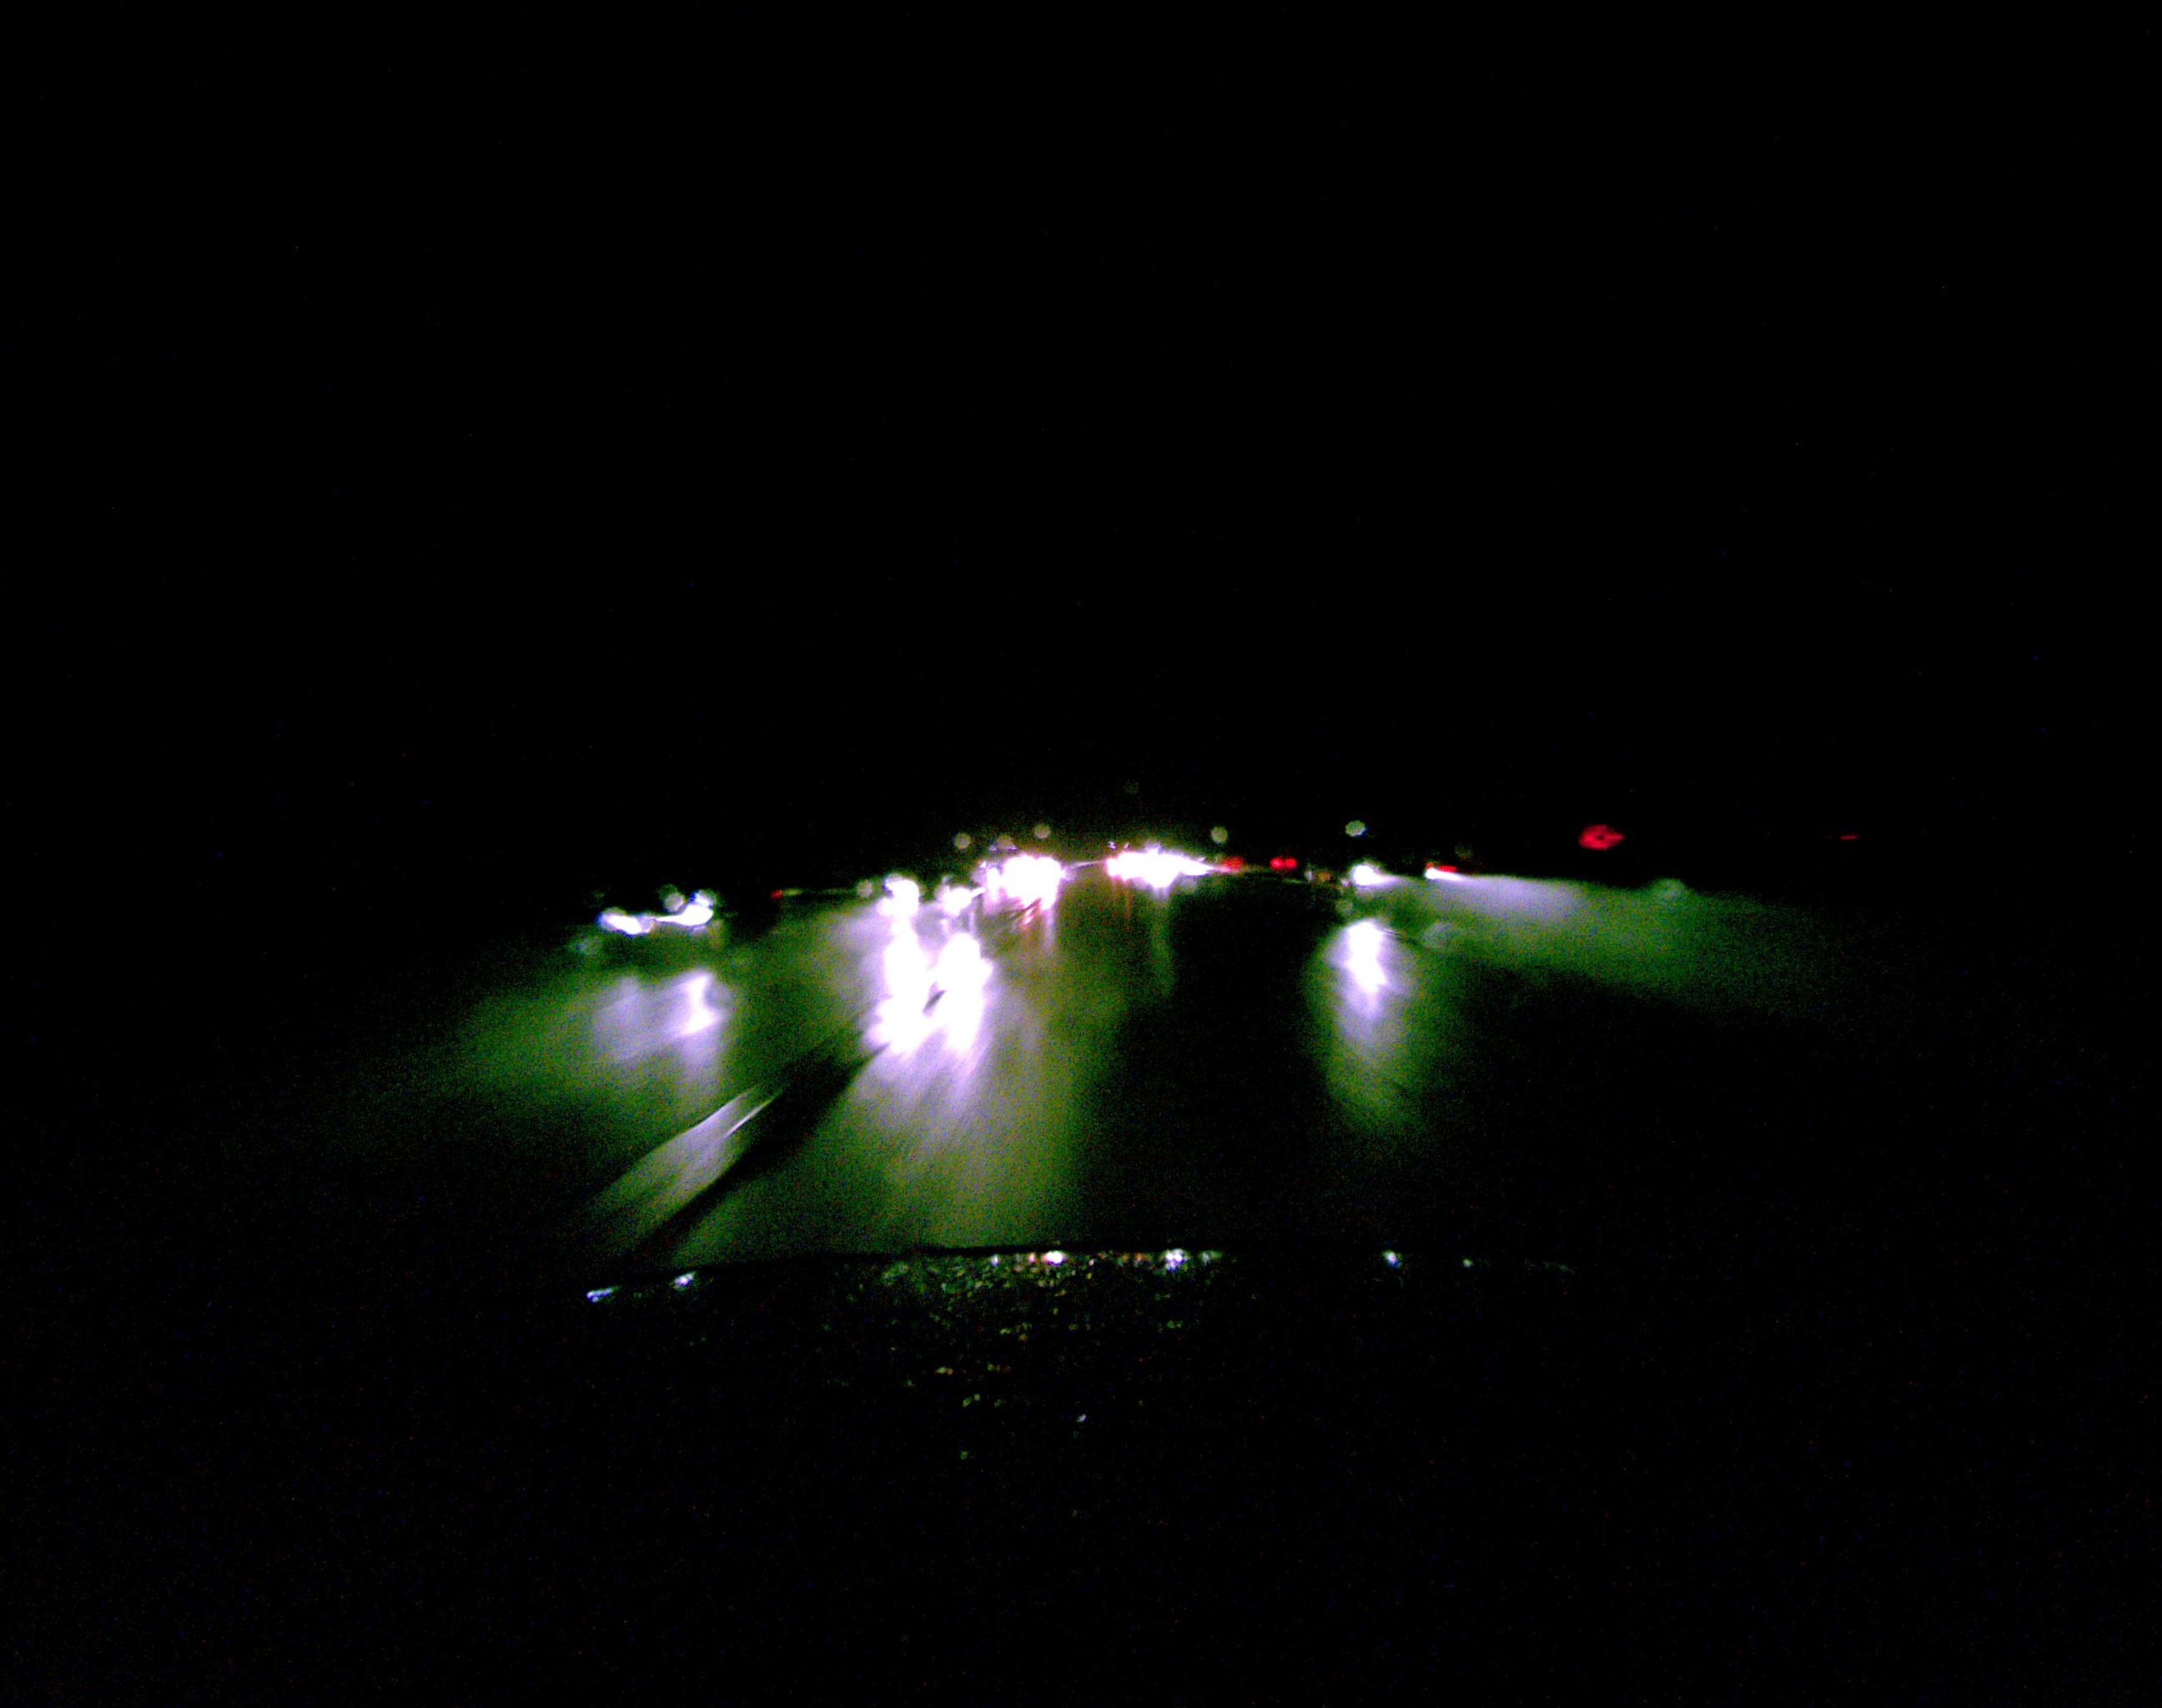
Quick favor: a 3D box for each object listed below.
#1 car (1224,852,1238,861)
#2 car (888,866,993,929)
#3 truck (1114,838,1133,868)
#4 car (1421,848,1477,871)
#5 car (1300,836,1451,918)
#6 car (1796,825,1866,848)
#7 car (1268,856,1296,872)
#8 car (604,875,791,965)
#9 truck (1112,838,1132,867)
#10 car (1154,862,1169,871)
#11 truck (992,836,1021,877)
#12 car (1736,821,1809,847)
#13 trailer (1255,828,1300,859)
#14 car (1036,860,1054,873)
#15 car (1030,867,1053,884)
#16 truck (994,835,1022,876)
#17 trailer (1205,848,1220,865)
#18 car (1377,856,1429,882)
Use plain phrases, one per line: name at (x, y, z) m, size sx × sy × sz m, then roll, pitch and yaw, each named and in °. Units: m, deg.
car at (23.531, 0.325, 119.378) m, size 1.618 × 1.292 × 3.701 m, roll 1°, pitch 2°, yaw 3°
car at (-3.802, 1.136, 21.425) m, size 1.998 × 1.440 × 4.336 m, roll -2°, pitch 0°, yaw 1°
truck at (6.278, -0.203, 113.785) m, size 2.503 × 4.224 × 5.981 m, roll 1°, pitch 2°, yaw 1°
car at (25.432, 0.364, 52.684) m, size 1.844 × 1.517 × 4.292 m, roll -2°, pitch 0°, yaw 2°
car at (7.653, 0.478, 20.459) m, size 2.142 × 1.874 × 5.555 m, roll -1°, pitch 1°, yaw 3°
car at (49.724, -1.164, 50.438) m, size 1.772 × 1.397 × 3.244 m, roll -2°, pitch 0°, yaw 10°
car at (21.058, 1.037, 79.700) m, size 1.844 × 1.517 × 4.291 m, roll 1°, pitch 2°, yaw 1°
car at (-7.816, 1.276, 15.985) m, size 1.724 × 1.488 × 4.044 m, roll -2°, pitch 0°, yaw 2°
truck at (6.390, -0.375, 120.541) m, size 2.503 × 4.224 × 13.639 m, roll 1°, pitch 2°, yaw 1°
car at (11.629, 1.854, 109.512) m, size 1.711 × 1.286 × 3.992 m, roll 1°, pitch -1°, yaw 0°
truck at (-7.832, 0.184, 80.660) m, size 2.766 × 4.199 × 6.190 m, roll 1°, pitch 2°, yaw -4°
car at (55.372, -1.588, 60.991) m, size 1.997 × 1.921 × 4.688 m, roll -2°, pitch 0°, yaw 7°
trailer at (27.226, -1.575, 106.127) m, size 2.820 × 3.976 × 13.928 m, roll 1°, pitch 2°, yaw 1°
car at (-3.697, 1.276, 77.631) m, size 1.712 × 1.286 × 3.990 m, roll 1°, pitch -1°, yaw -4°
car at (-3.176, 1.706, 60.174) m, size 1.712 × 1.286 × 3.990 m, roll 1°, pitch -1°, yaw -4°
truck at (-8.290, -0.012, 87.829) m, size 2.766 × 4.199 × 13.818 m, roll 1°, pitch 2°, yaw -4°
trailer at (37.980, 0.643, 219.592) m, size 2.554 × 4.518 × 13.916 m, roll 1°, pitch 2°, yaw 3°
car at (21.718, 0.974, 51.418) m, size 1.736 × 1.517 × 4.291 m, roll 1°, pitch 2°, yaw 1°
